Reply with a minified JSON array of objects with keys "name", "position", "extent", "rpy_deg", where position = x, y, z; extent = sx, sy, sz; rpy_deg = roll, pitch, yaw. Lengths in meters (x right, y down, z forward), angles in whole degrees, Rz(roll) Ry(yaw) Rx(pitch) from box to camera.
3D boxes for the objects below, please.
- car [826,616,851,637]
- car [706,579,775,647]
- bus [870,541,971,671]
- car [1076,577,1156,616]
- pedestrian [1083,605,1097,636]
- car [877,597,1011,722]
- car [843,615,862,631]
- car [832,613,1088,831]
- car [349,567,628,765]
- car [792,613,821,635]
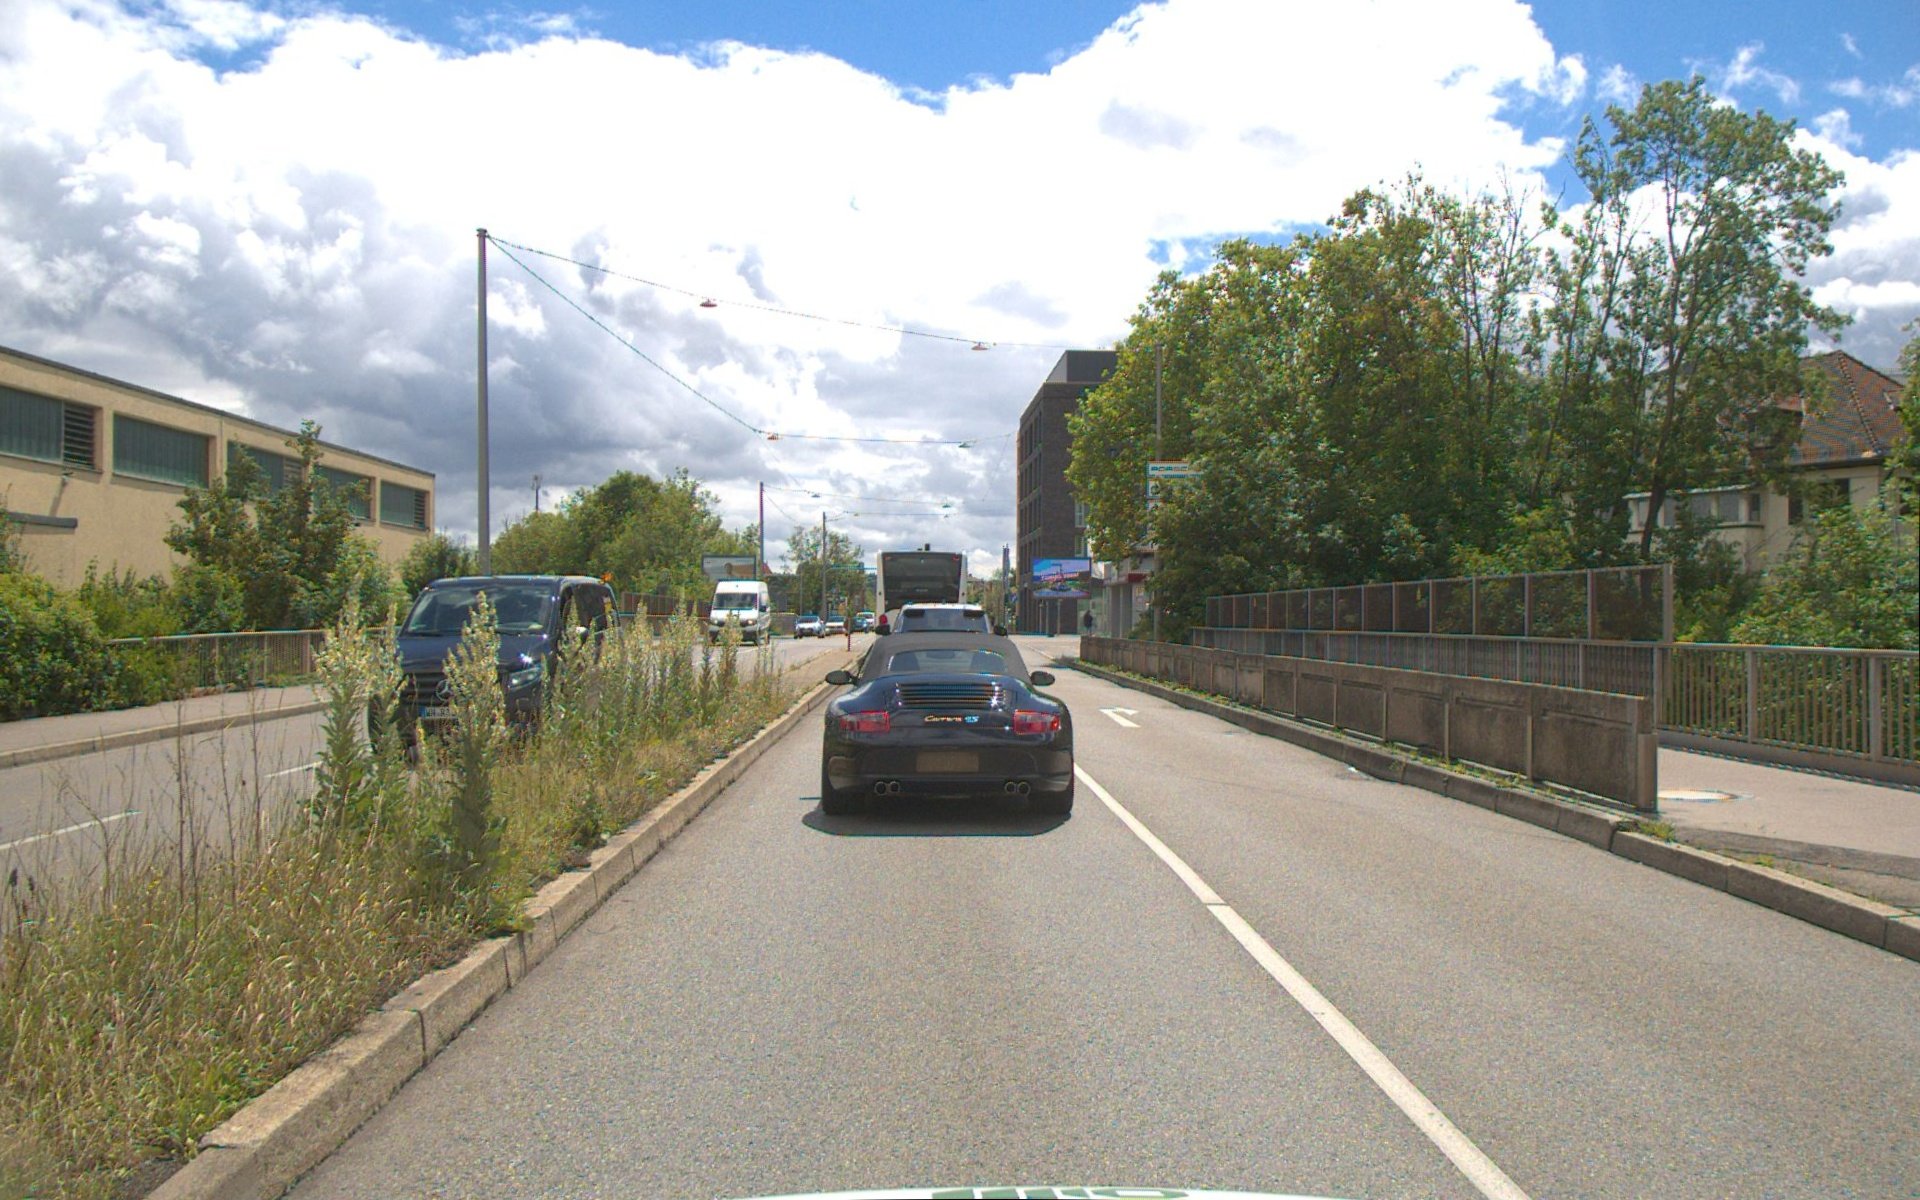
[{"name":"car","position":[-9.439,2.037,128.399],"extent":[1.773,1.588,4.205],"rpy_deg":[1,-1,-2]},{"name":"car","position":[-8.892,0.506,67.623],"extent":[2.025,2.616,6.819],"rpy_deg":[-1,0,-1]},{"name":"bus","position":[-1.112,-0.058,50.567],"extent":[2.634,3.311,12.059],"rpy_deg":[2,2,0]},{"name":"car","position":[8.570,-0.186,91.280],"extent":[4.144,1.970,2.029],"rpy_deg":[-2,-1,0]},{"name":"pedestrian","position":[7.334,1.140,93.257],"extent":[0.666,1.726,0.598],"rpy_deg":[0,-1,24]},{"name":"car","position":[-0.264,0.833,25.460],"extent":[1.841,1.621,4.229],"rpy_deg":[2,1,-1]},{"name":"car","position":[-9.707,2.105,149.552],"extent":[1.595,1.456,3.998],"rpy_deg":[0,-1,-1]},{"name":"car","position":[-0.074,0.833,13.101],"extent":[1.685,1.297,4.086],"rpy_deg":[1,1,-2]},{"name":"car","position":[-5.064,0.624,18.503],"extent":[1.954,1.921,4.866],"rpy_deg":[0,0,-3]},{"name":"car","position":[-9.934,1.551,107.519],"extent":[1.604,1.387,4.193],"rpy_deg":[0,0,-2]}]
